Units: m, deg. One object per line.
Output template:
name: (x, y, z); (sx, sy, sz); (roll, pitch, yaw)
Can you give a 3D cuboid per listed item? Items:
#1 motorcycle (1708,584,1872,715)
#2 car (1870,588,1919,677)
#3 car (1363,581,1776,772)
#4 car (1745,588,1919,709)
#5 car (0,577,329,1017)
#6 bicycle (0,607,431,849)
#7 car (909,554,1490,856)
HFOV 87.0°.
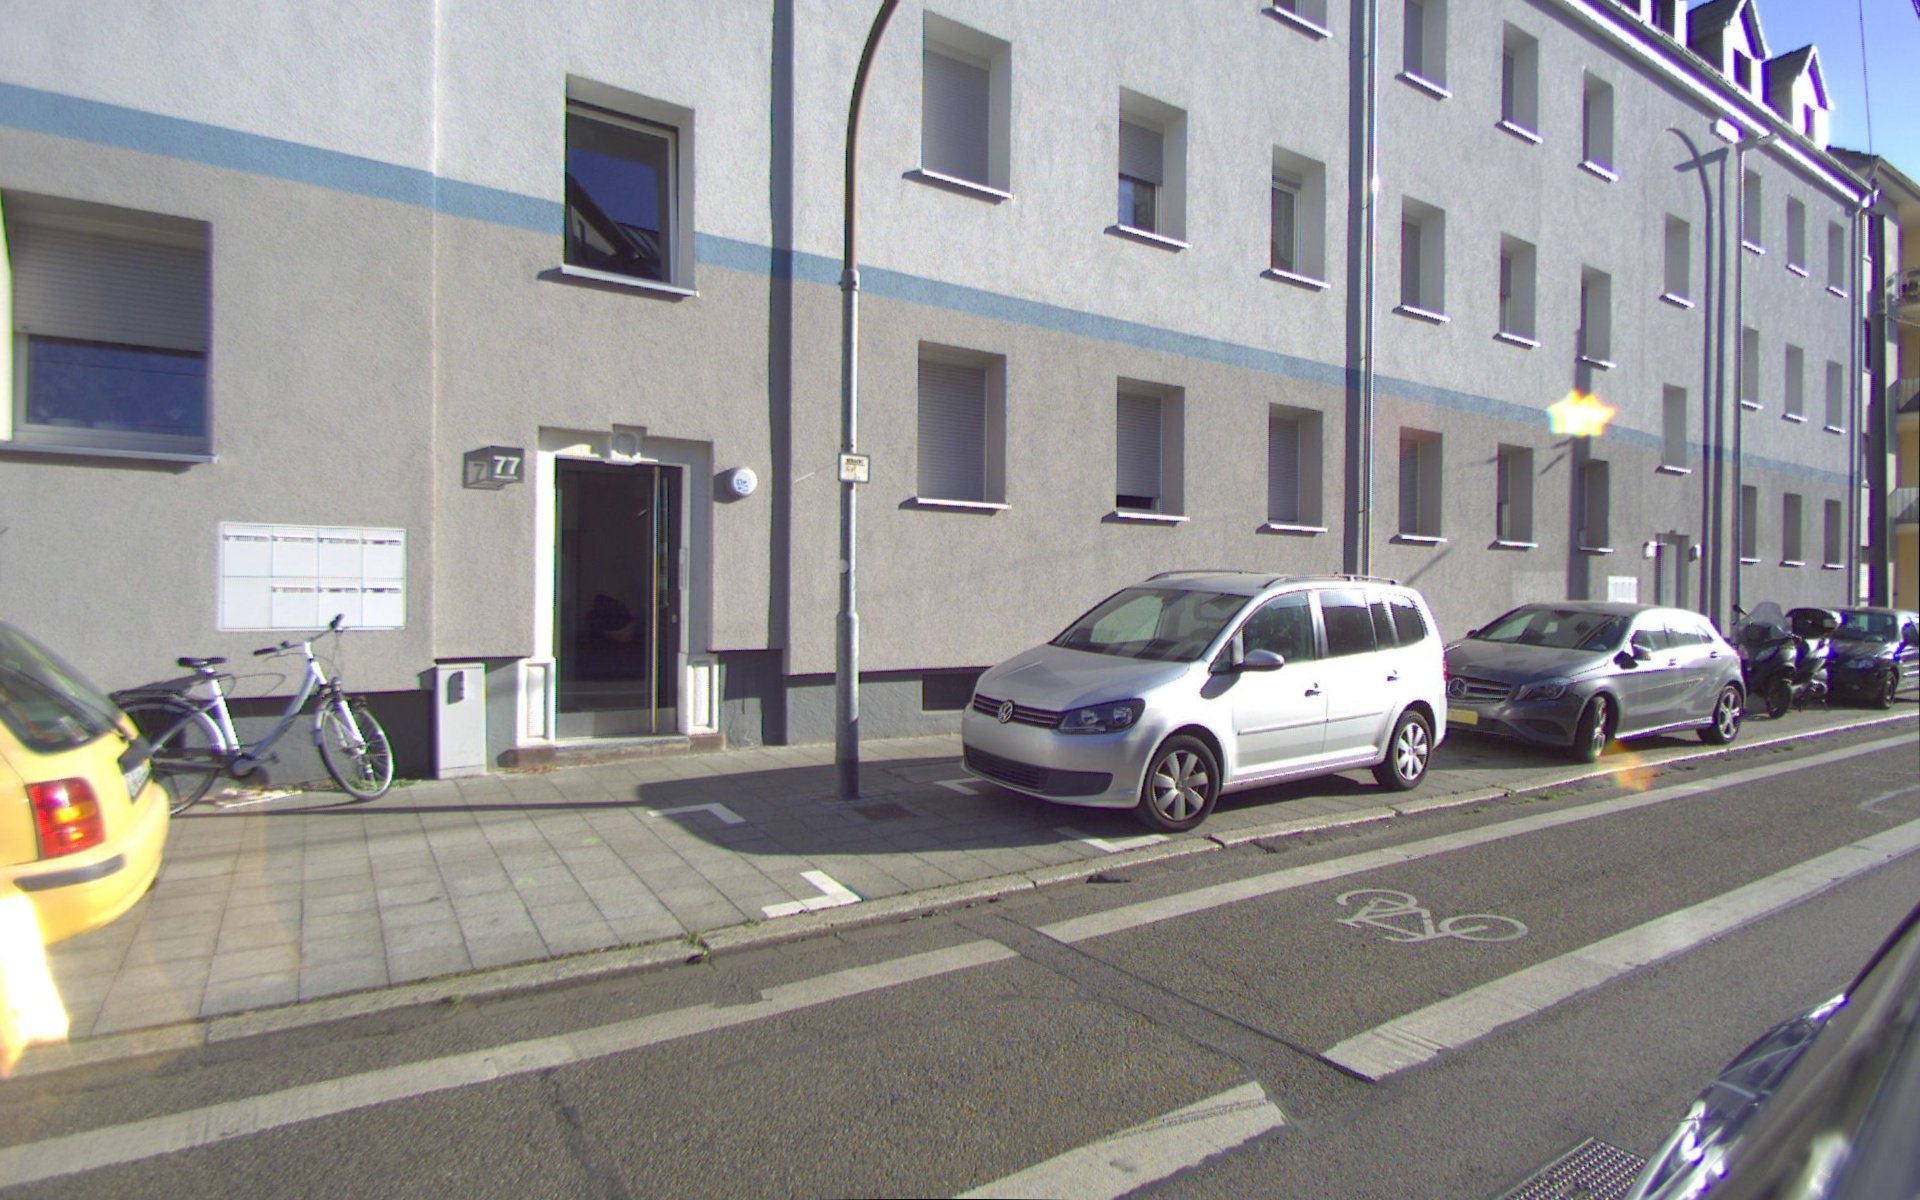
motorcycle: (11.041, 0.605, 13.425); (2.656, 1.539, 0.809); (0, 4, -33)
car: (19.048, 0.606, 19.137); (3.829, 1.590, 1.807); (0, 2, -34)
car: (6.427, 0.647, 10.570); (4.279, 1.574, 1.872); (0, 2, -31)
car: (13.840, 0.653, 15.492); (3.827, 1.590, 1.616); (0, 2, -32)
car: (-4.564, 0.649, 3.389); (4.120, 1.448, 1.519); (0, 2, -34)
bicycle: (-4.565, 0.667, 6.142); (2.282, 1.212, 1.100); (0, 1, -35)
car: (2.001, 0.555, 7.729); (4.539, 1.686, 1.761); (0, 2, -36)
